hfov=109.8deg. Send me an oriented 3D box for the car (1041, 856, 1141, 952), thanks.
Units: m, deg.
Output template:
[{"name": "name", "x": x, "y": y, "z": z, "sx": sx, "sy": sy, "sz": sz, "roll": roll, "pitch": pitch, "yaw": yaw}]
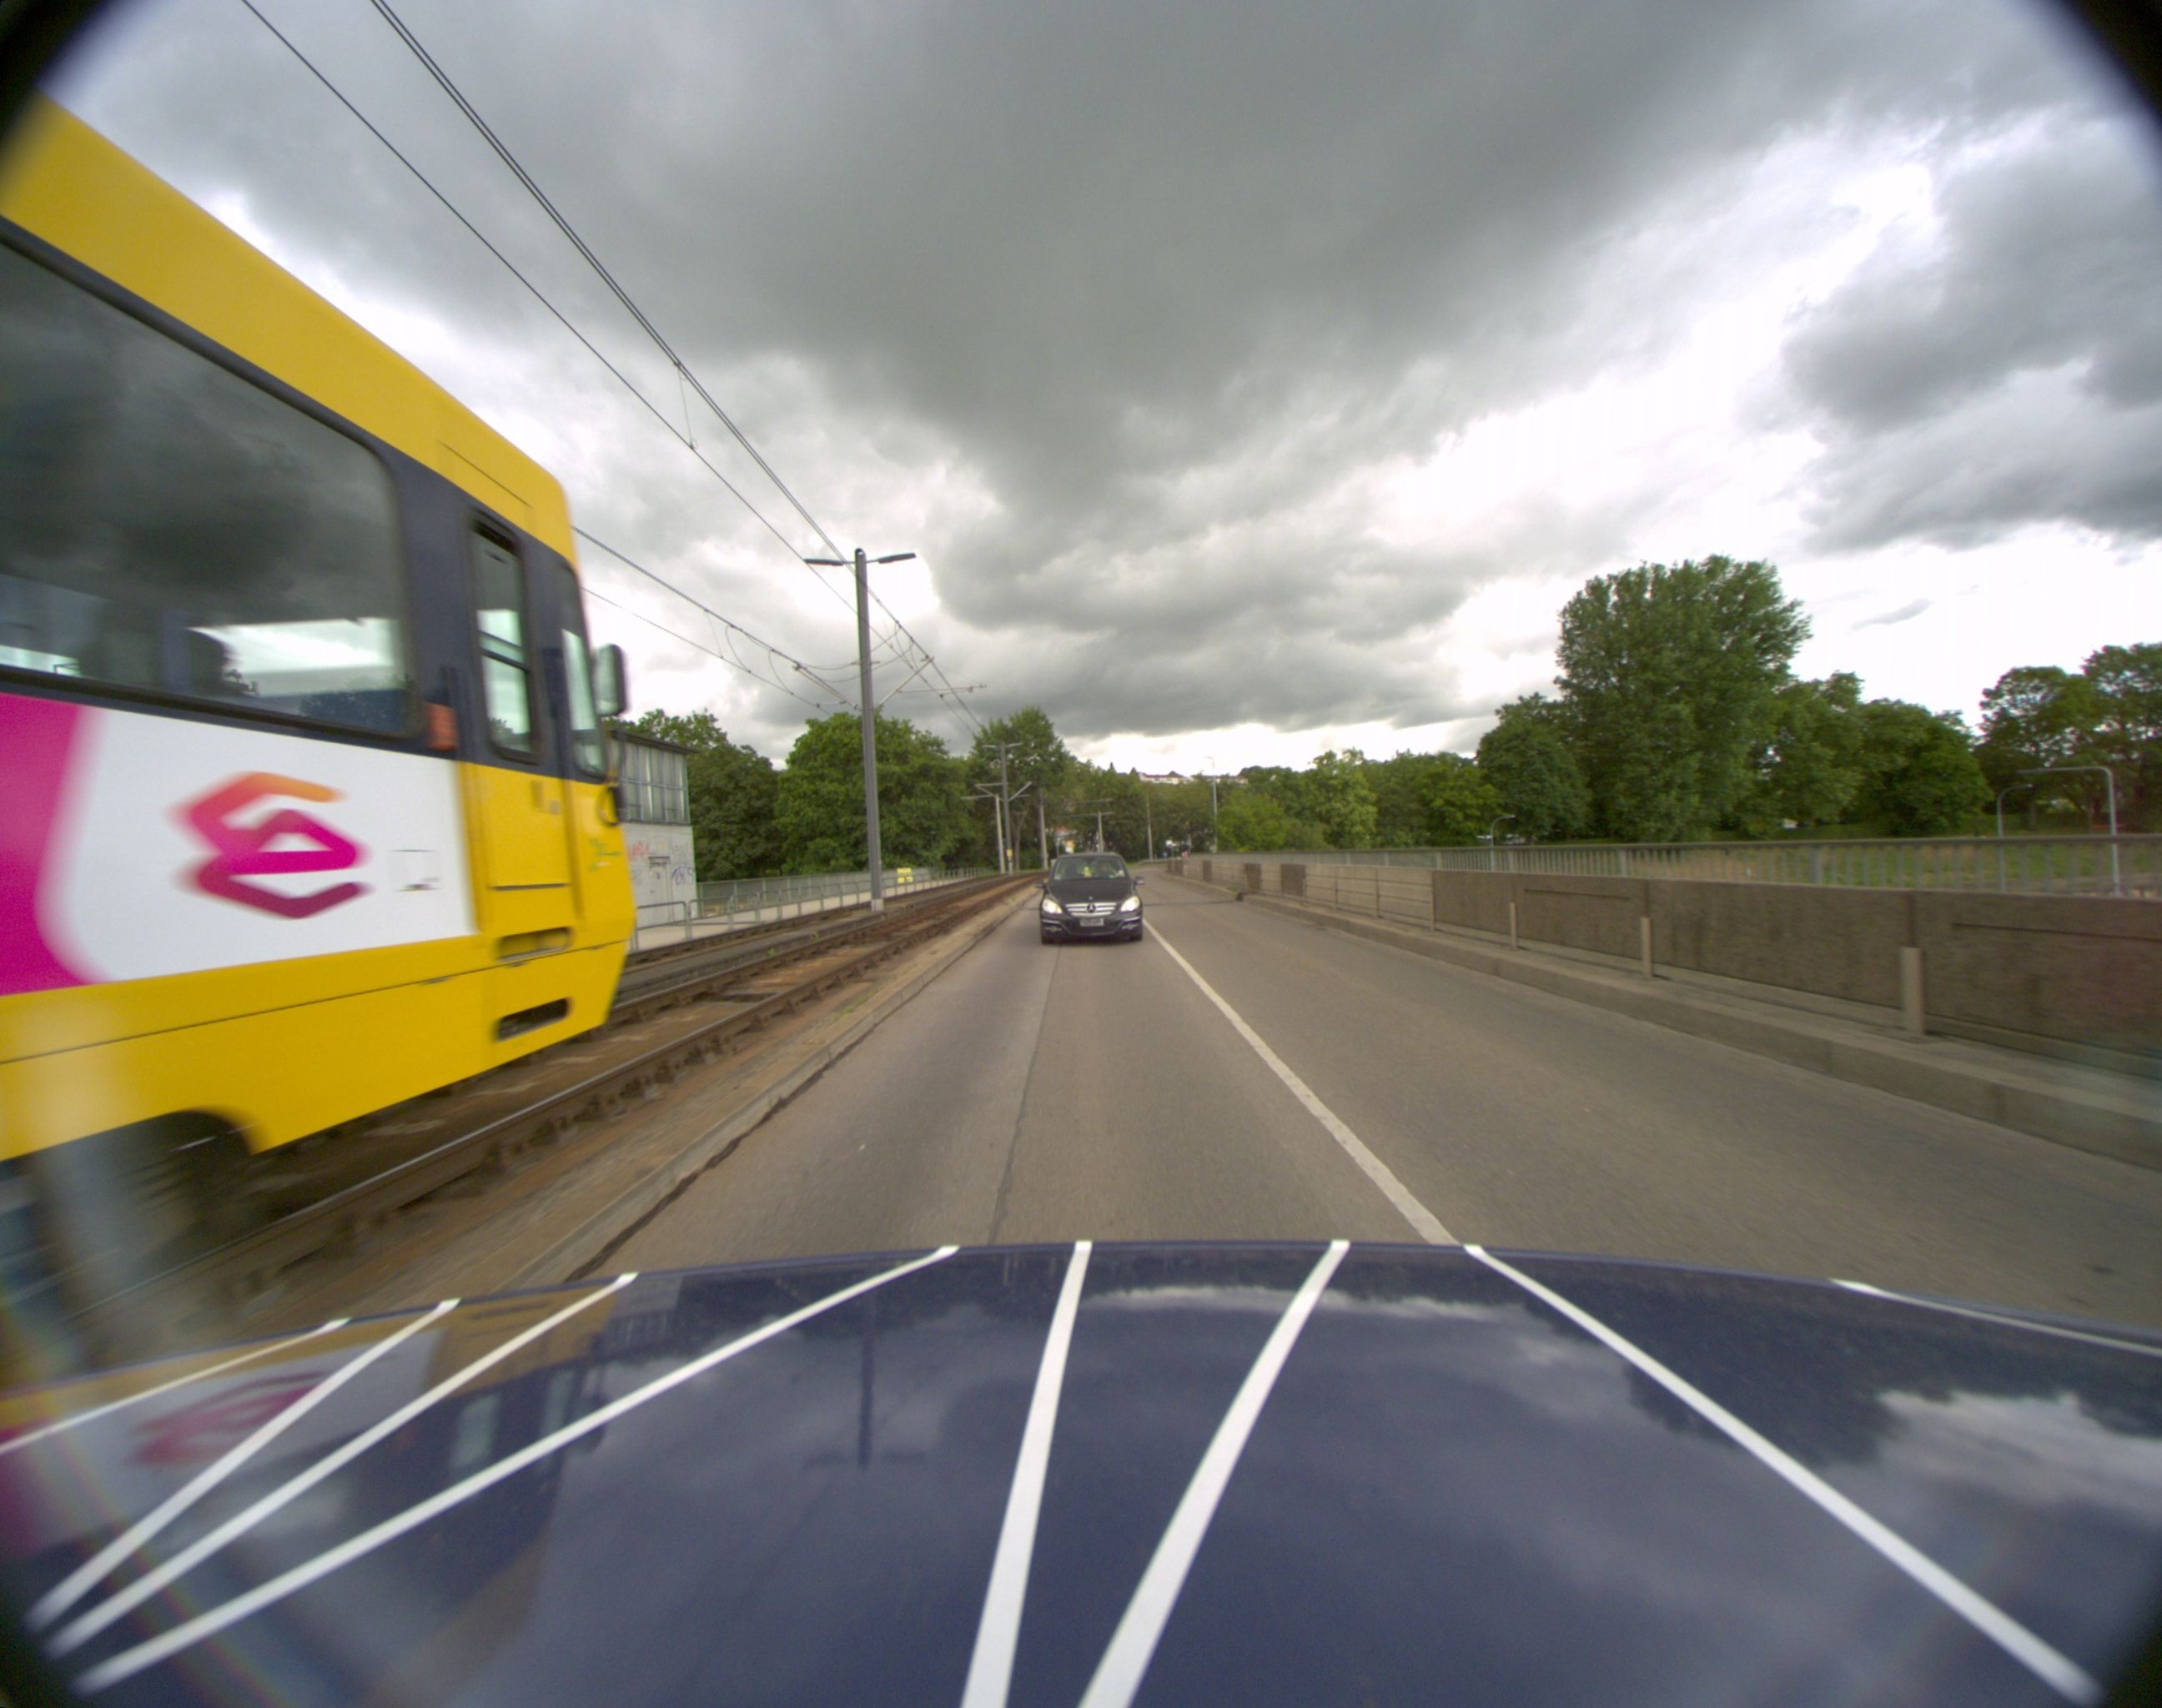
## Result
[{"name": "car", "x": 0.171, "y": 0.882, "z": 15.492, "sx": 1.711, "sy": 1.574, "sz": 4.442, "roll": -2, "pitch": 0, "yaw": 0}]
